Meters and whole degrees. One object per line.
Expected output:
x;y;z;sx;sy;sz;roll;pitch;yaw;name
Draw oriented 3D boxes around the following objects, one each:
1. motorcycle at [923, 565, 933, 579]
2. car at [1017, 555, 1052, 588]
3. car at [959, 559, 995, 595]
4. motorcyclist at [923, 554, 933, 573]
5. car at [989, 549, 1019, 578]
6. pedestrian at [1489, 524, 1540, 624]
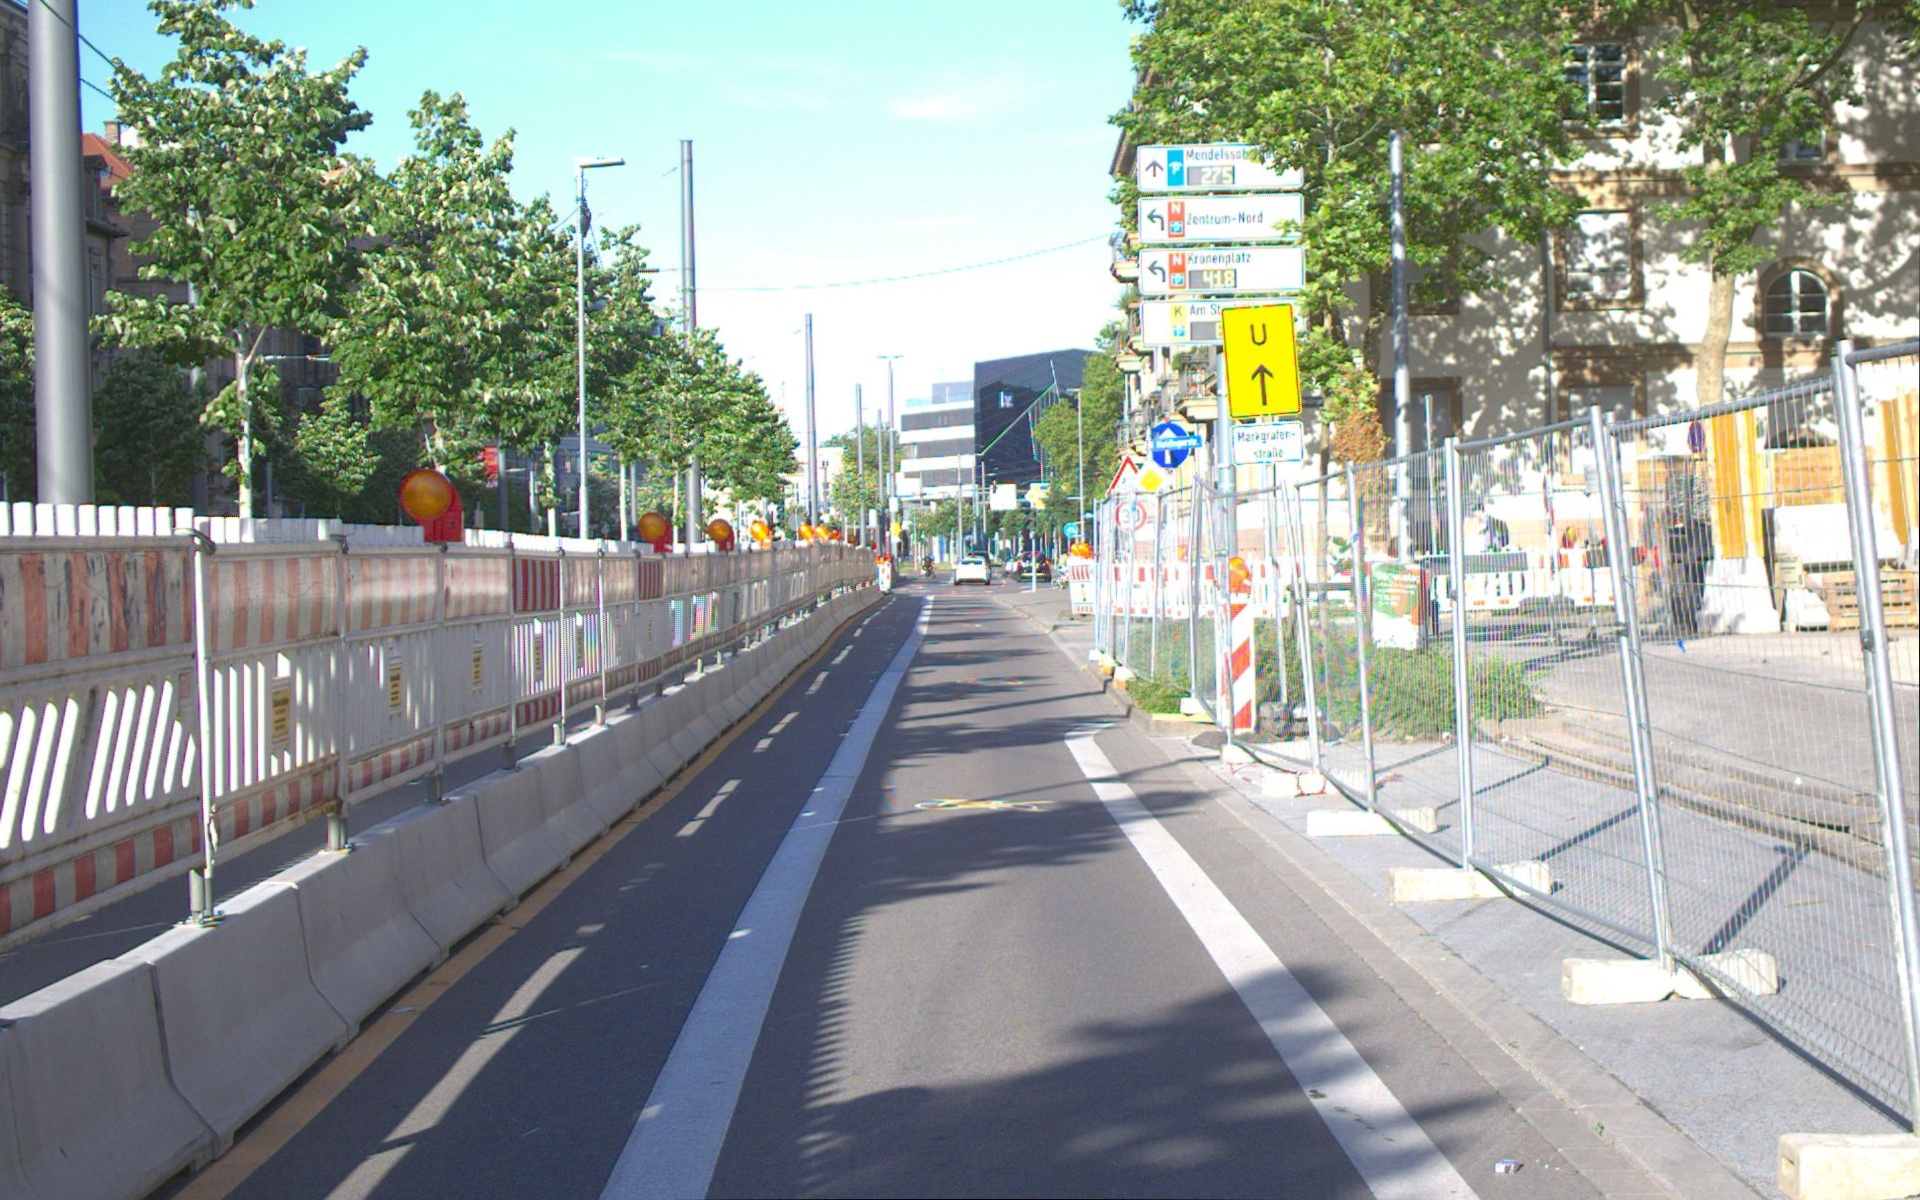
-2.050;-1.805;220.607;0.631;0.893;1.621;-1;1;0;motorcycle
4.284;-1.652;197.522;1.883;1.836;3.668;-1;1;0;car
0.899;-1.213;182.840;1.883;1.836;3.668;-1;1;0;car
-2.068;-2.343;220.735;0.631;1.258;0.606;-1;1;0;motorcyclist
2.897;-2.379;225.953;1.883;1.836;3.668;-1;1;0;car
9.788;-0.459;60.683;0.775;1.740;0.671;-1;1;1;pedestrian
